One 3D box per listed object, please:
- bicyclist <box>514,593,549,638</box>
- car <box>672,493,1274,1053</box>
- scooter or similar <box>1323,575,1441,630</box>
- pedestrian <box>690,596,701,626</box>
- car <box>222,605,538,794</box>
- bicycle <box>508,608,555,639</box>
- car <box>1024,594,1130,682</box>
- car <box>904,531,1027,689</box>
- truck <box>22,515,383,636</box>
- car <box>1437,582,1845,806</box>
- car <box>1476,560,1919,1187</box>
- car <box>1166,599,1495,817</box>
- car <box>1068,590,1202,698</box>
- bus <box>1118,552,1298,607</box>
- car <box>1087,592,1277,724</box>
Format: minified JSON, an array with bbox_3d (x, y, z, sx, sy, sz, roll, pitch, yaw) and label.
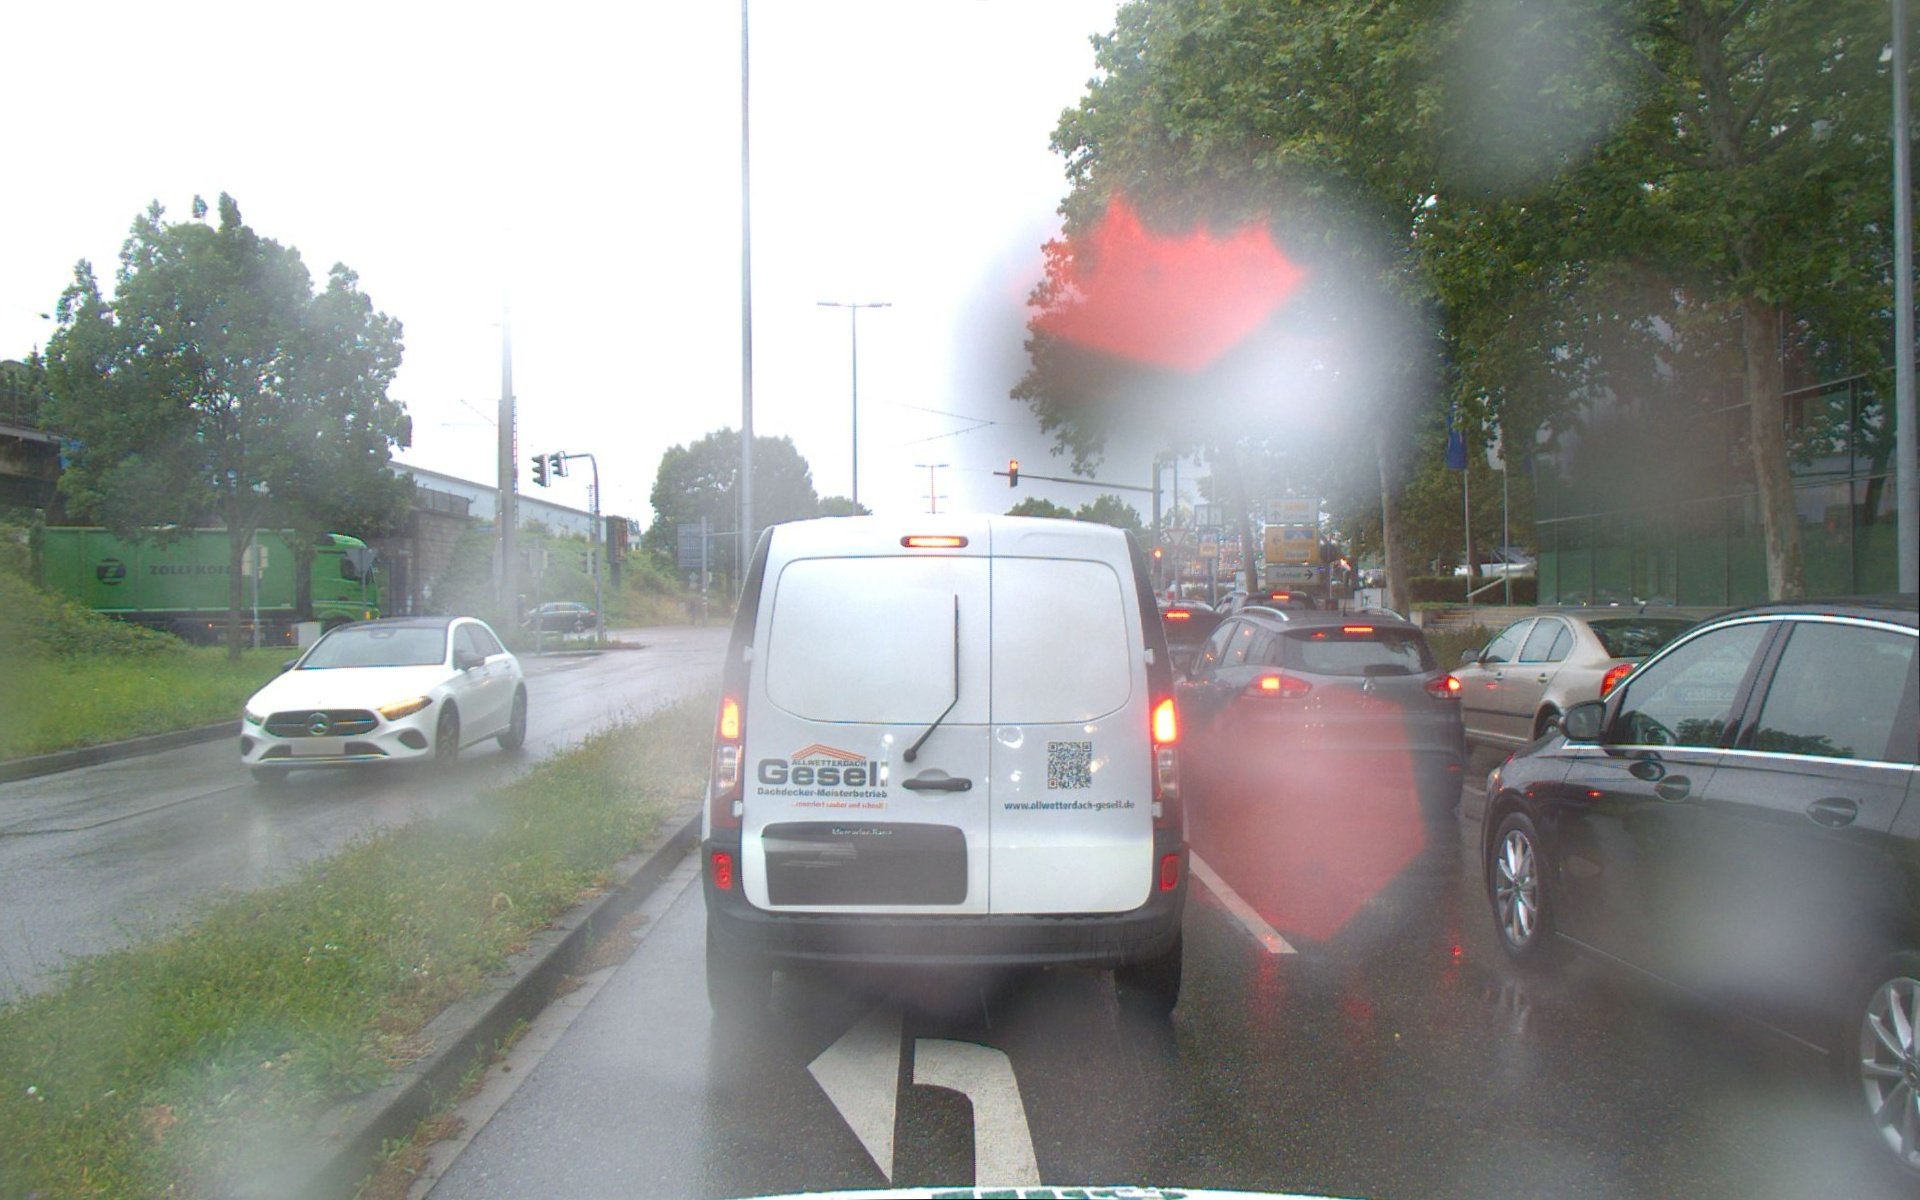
[{"bbox_3d":[-14.329,0.510,55.298,1.028,1.475,0.723,-1,1,-26],"label":"bicyclist"},{"bbox_3d":[0.014,0.542,7.653,1.953,1.807,4.584,0,0,-1],"label":"car"},{"bbox_3d":[19.679,0.103,77.369,1.878,2.489,5.239,0,0,-41],"label":"scooter or similar"},{"bbox_3d":[-15.345,0.624,95.873,0.532,1.746,0.563,1,-1,-5],"label":"pedestrian"},{"bbox_3d":[-5.527,0.876,16.322,1.699,1.546,4.046,-3,-1,-1],"label":"car"},{"bbox_3d":[-14.358,0.762,55.349,1.027,0.968,2.866,-1,1,-25],"label":"bicycle"},{"bbox_3d":[2.312,0.733,33.558,1.816,1.678,3.842,0,0,-1],"label":"car"},{"bbox_3d":[0.060,0.134,26.367,1.816,2.336,3.842,0,0,-1],"label":"car"},{"bbox_3d":[-23.218,-0.732,51.184,9.956,3.430,2.316,0,0,-37],"label":"truck"},{"bbox_3d":[5.719,0.690,14.480,1.838,1.641,3.999,2,1,-1],"label":"car"},{"bbox_3d":[3.246,0.690,5.458,1.712,1.582,4.089,0,0,-2],"label":"car"},{"bbox_3d":[2.753,0.735,13.144,1.649,1.433,3.842,1,0,-2],"label":"car"},{"bbox_3d":[2.876,0.681,27.904,1.816,1.678,3.842,0,0,-1],"label":"car"},{"bbox_3d":[16.609,-1.392,111.160,11.727,3.483,2.315,-1,1,-1],"label":"bus"},{"bbox_3d":[2.664,0.645,20.673,1.816,1.486,3.842,0,0,-1],"label":"car"}]
